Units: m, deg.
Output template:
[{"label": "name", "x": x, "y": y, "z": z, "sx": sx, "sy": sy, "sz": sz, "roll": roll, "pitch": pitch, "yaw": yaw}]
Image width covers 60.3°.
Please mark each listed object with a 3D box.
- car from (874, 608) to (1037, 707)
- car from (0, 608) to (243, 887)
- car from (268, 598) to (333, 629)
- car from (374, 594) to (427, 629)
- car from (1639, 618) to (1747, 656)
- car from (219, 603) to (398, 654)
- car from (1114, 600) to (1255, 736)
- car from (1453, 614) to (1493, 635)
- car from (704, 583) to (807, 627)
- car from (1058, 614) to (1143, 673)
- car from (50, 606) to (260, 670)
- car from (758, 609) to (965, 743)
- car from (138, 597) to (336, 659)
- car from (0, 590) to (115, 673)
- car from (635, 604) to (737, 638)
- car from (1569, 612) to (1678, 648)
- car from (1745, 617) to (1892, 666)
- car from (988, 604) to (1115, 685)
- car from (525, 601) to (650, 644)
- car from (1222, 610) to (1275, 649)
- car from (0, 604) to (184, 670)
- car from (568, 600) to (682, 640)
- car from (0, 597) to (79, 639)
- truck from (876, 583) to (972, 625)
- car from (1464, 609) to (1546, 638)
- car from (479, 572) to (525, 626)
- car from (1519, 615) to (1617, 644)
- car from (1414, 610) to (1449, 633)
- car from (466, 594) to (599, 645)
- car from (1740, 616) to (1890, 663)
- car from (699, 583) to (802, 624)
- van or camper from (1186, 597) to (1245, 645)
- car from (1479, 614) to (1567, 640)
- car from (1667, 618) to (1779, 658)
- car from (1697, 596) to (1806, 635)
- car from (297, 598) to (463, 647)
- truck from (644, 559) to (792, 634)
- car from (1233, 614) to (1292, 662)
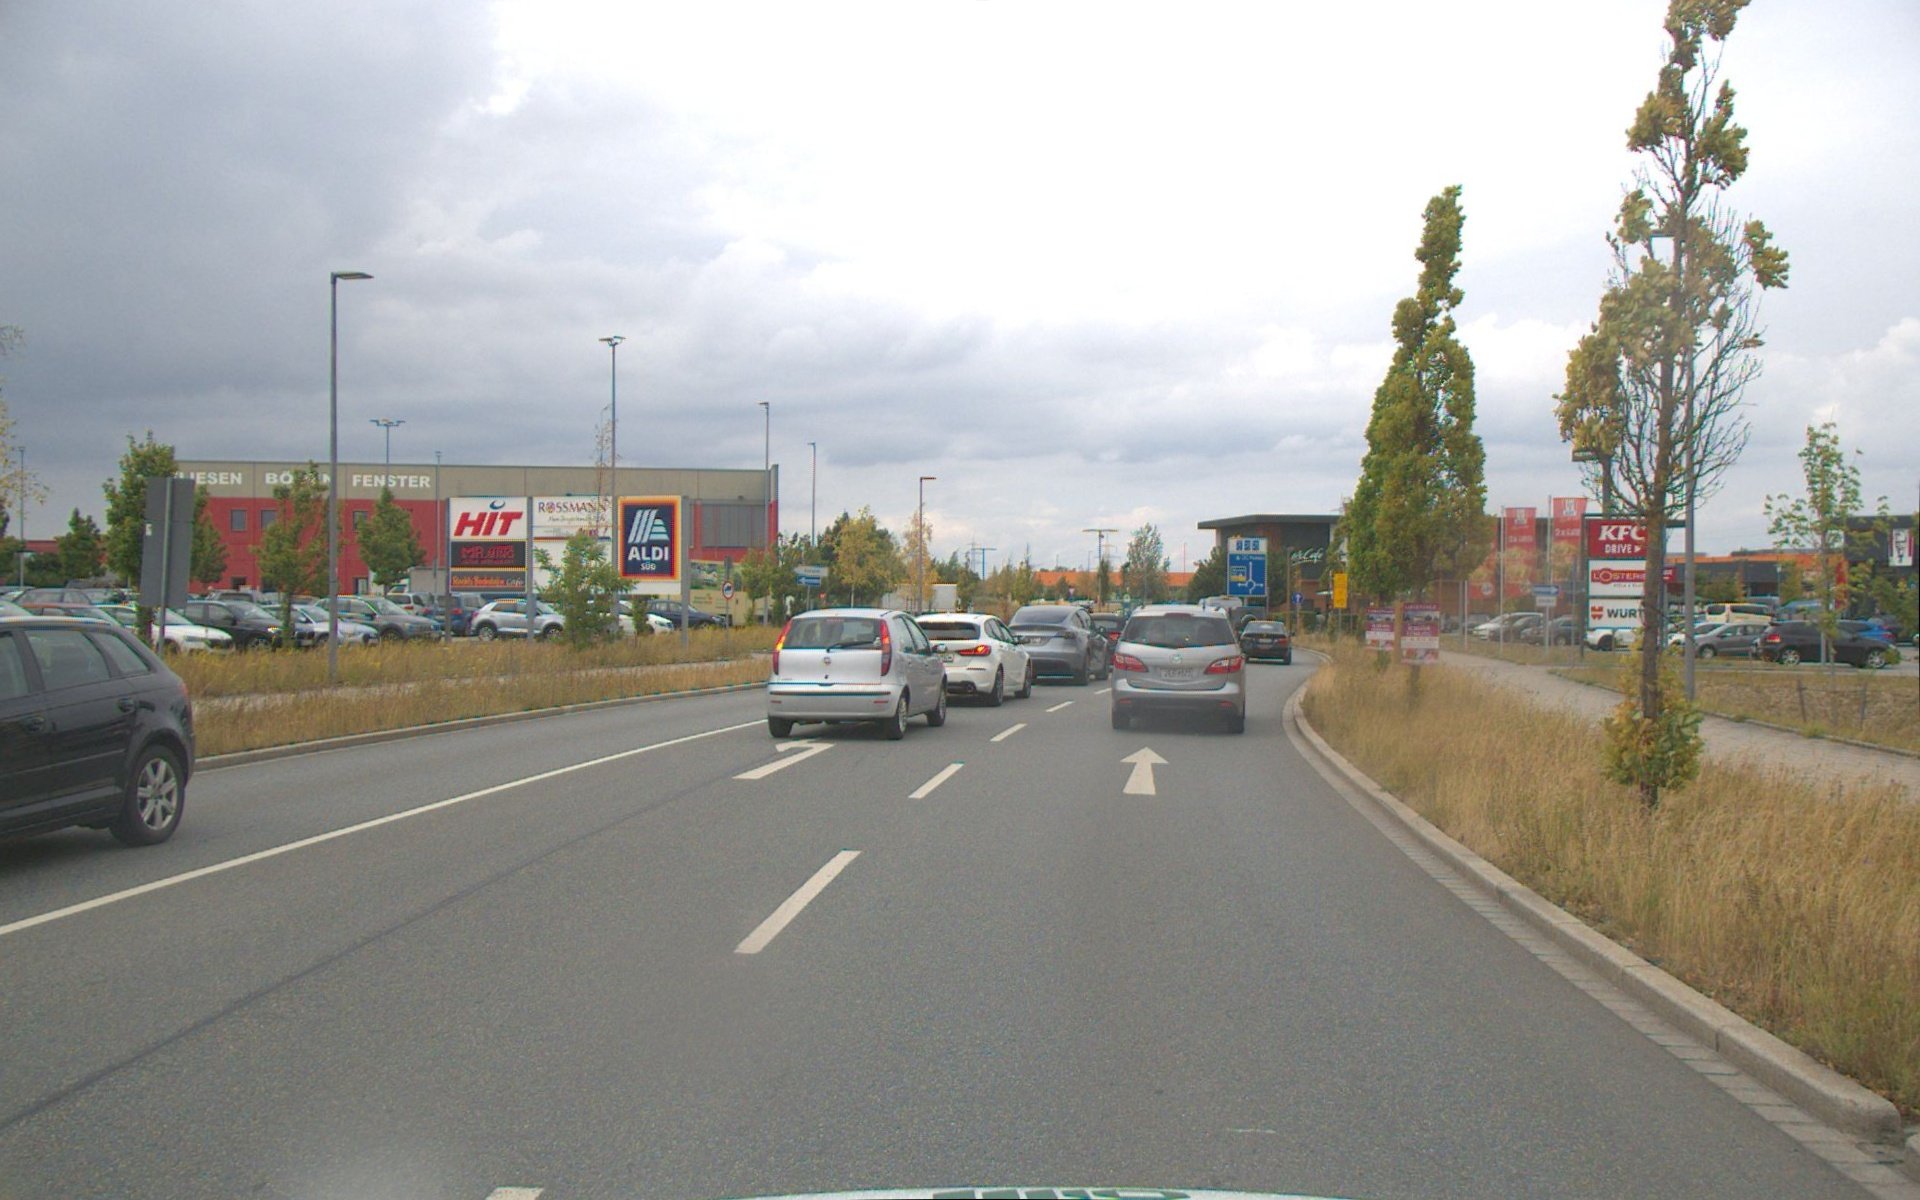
[{"label": "car", "x": 0.021, "y": 0.899, "z": 27.228, "sx": 1.840, "sy": 1.494, "sz": 4.196, "roll": 0, "pitch": -1, "yaw": 12}, {"label": "car", "x": -5.879, "y": 0.792, "z": 9.084, "sx": 1.681, "sy": 1.471, "sz": 4.238, "roll": -1, "pitch": -1, "yaw": 6}, {"label": "car", "x": -33.368, "y": 0.666, "z": 83.829, "sx": 1.955, "sy": 1.545, "sz": 4.224, "roll": 0, "pitch": 0, "yaw": -6}, {"label": "car", "x": -28.689, "y": 0.595, "z": 84.942, "sx": 1.957, "sy": 1.759, "sz": 3.991, "roll": 0, "pitch": 0, "yaw": -10}, {"label": "car", "x": 31.297, "y": 1.574, "z": 70.711, "sx": 3.779, "sy": 1.507, "sz": 1.904, "roll": -1, "pitch": -1, "yaw": 7}, {"label": "car", "x": -18.206, "y": 0.790, "z": 46.296, "sx": 4.220, "sy": 1.363, "sz": 2.029, "roll": 0, "pitch": 0, "yaw": 9}, {"label": "car", "x": 3.009, "y": 0.852, "z": 22.379, "sx": 1.693, "sy": 1.628, "sz": 3.810, "roll": 2, "pitch": 0, "yaw": 7}, {"label": "car", "x": 33.877, "y": 1.592, "z": 109.243, "sx": 1.777, "sy": 1.336, "sz": 3.843, "roll": 0, "pitch": 0, "yaw": 29}, {"label": "car", "x": -12.681, "y": 0.305, "z": 102.763, "sx": 6.285, "sy": 2.644, "sz": 2.240, "roll": 1, "pitch": -1, "yaw": -7}, {"label": "car", "x": 3.732, "y": 1.116, "z": 43.435, "sx": 1.731, "sy": 1.463, "sz": 4.234, "roll": 0, "pitch": -1, "yaw": 12}, {"label": "car", "x": -19.504, "y": 0.894, "z": 40.143, "sx": 4.226, "sy": 1.482, "sz": 2.012, "roll": 0, "pitch": 0, "yaw": 11}, {"label": "car", "x": -1.091, "y": 0.846, "z": 20.306, "sx": 1.666, "sy": 1.463, "sz": 4.036, "roll": 0, "pitch": 0, "yaw": 10}, {"label": "car", "x": -18.956, "y": 0.710, "z": 43.438, "sx": 4.272, "sy": 1.531, "sz": 2.241, "roll": 0, "pitch": 0, "yaw": 13}, {"label": "car", "x": -20.594, "y": 0.638, "z": 35.226, "sx": 4.208, "sy": 1.684, "sz": 2.082, "roll": 0, "pitch": 0, "yaw": 11}, {"label": "car", "x": -12.375, "y": 0.938, "z": 74.887, "sx": 4.142, "sy": 1.460, "sz": 1.999, "roll": 0, "pitch": 0, "yaw": 6}, {"label": "car", "x": 32.297, "y": 1.453, "z": 80.583, "sx": 4.466, "sy": 1.674, "sz": 2.089, "roll": -1, "pitch": 0, "yaw": 2}, {"label": "car", "x": 27.897, "y": 1.319, "z": 53.867, "sx": 3.902, "sy": 1.520, "sz": 1.983, "roll": 0, "pitch": 0, "yaw": 14}, {"label": "car", "x": 2.031, "y": 0.889, "z": 35.317, "sx": 1.951, "sy": 1.588, "sz": 4.616, "roll": 0, "pitch": 0, "yaw": 13}, {"label": "car", "x": -14.148, "y": 0.857, "z": 62.957, "sx": 4.152, "sy": 1.540, "sz": 2.048, "roll": 1, "pitch": 0, "yaw": 13}, {"label": "car", "x": 14.152, "y": 1.437, "z": 81.384, "sx": 2.015, "sy": 1.858, "sz": 4.788, "roll": 1, "pitch": -1, "yaw": 4}, {"label": "car", "x": -20.112, "y": 0.815, "z": 37.735, "sx": 3.997, "sy": 1.415, "sz": 2.002, "roll": 0, "pitch": 0, "yaw": 14}, {"label": "car", "x": -13.621, "y": 0.789, "z": 67.393, "sx": 4.158, "sy": 1.586, "sz": 1.990, "roll": 0, "pitch": 0, "yaw": 3}, {"label": "car", "x": -36.615, "y": 0.686, "z": 65.387, "sx": 1.957, "sy": 1.635, "sz": 3.991, "roll": 0, "pitch": 0, "yaw": -10}, {"label": "truck", "x": -3.465, "y": 0.380, "z": 161.256, "sx": 9.111, "sy": 3.975, "sz": 3.144, "roll": 0, "pitch": -1, "yaw": 2}, {"label": "car", "x": 32.296, "y": 1.392, "z": 98.072, "sx": 4.266, "sy": 1.668, "sz": 1.934, "roll": 0, "pitch": 0, "yaw": -9}, {"label": "car", "x": -23.662, "y": -0.043, "z": 85.633, "sx": 2.023, "sy": 2.738, "sz": 5.129, "roll": 0, "pitch": 0, "yaw": -13}, {"label": "car", "x": 32.181, "y": 1.575, "z": 87.635, "sx": 4.427, "sy": 1.494, "sz": 2.031, "roll": 0, "pitch": 0, "yaw": -3}, {"label": "car", "x": 37.611, "y": 1.687, "z": 131.984, "sx": 1.955, "sy": 1.747, "sz": 3.995, "roll": 1, "pitch": 0, "yaw": 27}, {"label": "car", "x": -15.383, "y": 0.695, "z": 59.627, "sx": 4.152, "sy": 1.753, "sz": 2.030, "roll": 1, "pitch": -1, "yaw": 8}, {"label": "car", "x": 29.033, "y": 1.327, "z": 56.272, "sx": 4.171, "sy": 1.546, "sz": 1.967, "roll": 0, "pitch": 0, "yaw": 12}, {"label": "car", "x": -12.367, "y": 0.223, "z": 97.750, "sx": 5.954, "sy": 2.347, "sz": 2.206, "roll": 1, "pitch": -1, "yaw": -8}, {"label": "van or camper", "x": 14.200, "y": 1.140, "z": 92.179, "sx": 2.256, "sy": 2.550, "sz": 5.203, "roll": 1, "pitch": 0, "yaw": -2}, {"label": "car", "x": 32.490, "y": 1.573, "z": 95.557, "sx": 4.381, "sy": 1.461, "sz": 2.071, "roll": 0, "pitch": 0, "yaw": -6}, {"label": "car", "x": 30.409, "y": 1.498, "z": 65.975, "sx": 3.677, "sy": 1.520, "sz": 1.891, "roll": 0, "pitch": 0, "yaw": 9}, {"label": "car", "x": 48.596, "y": 0.946, "z": 101.655, "sx": 5.562, "sy": 2.392, "sz": 2.533, "roll": 0, "pitch": 0, "yaw": -5}, {"label": "car", "x": -17.604, "y": 0.659, "z": 50.254, "sx": 4.265, "sy": 1.415, "sz": 2.167, "roll": 0, "pitch": 0, "yaw": 14}, {"label": "truck", "x": -12.118, "y": -0.136, "z": 83.706, "sx": 2.796, "sy": 3.603, "sz": 8.412, "roll": 1, "pitch": 0, "yaw": 30}, {"label": "car", "x": 9.818, "y": 1.192, "z": 53.536, "sx": 1.805, "sy": 1.443, "sz": 4.228, "roll": 0, "pitch": 0, "yaw": 11}]
